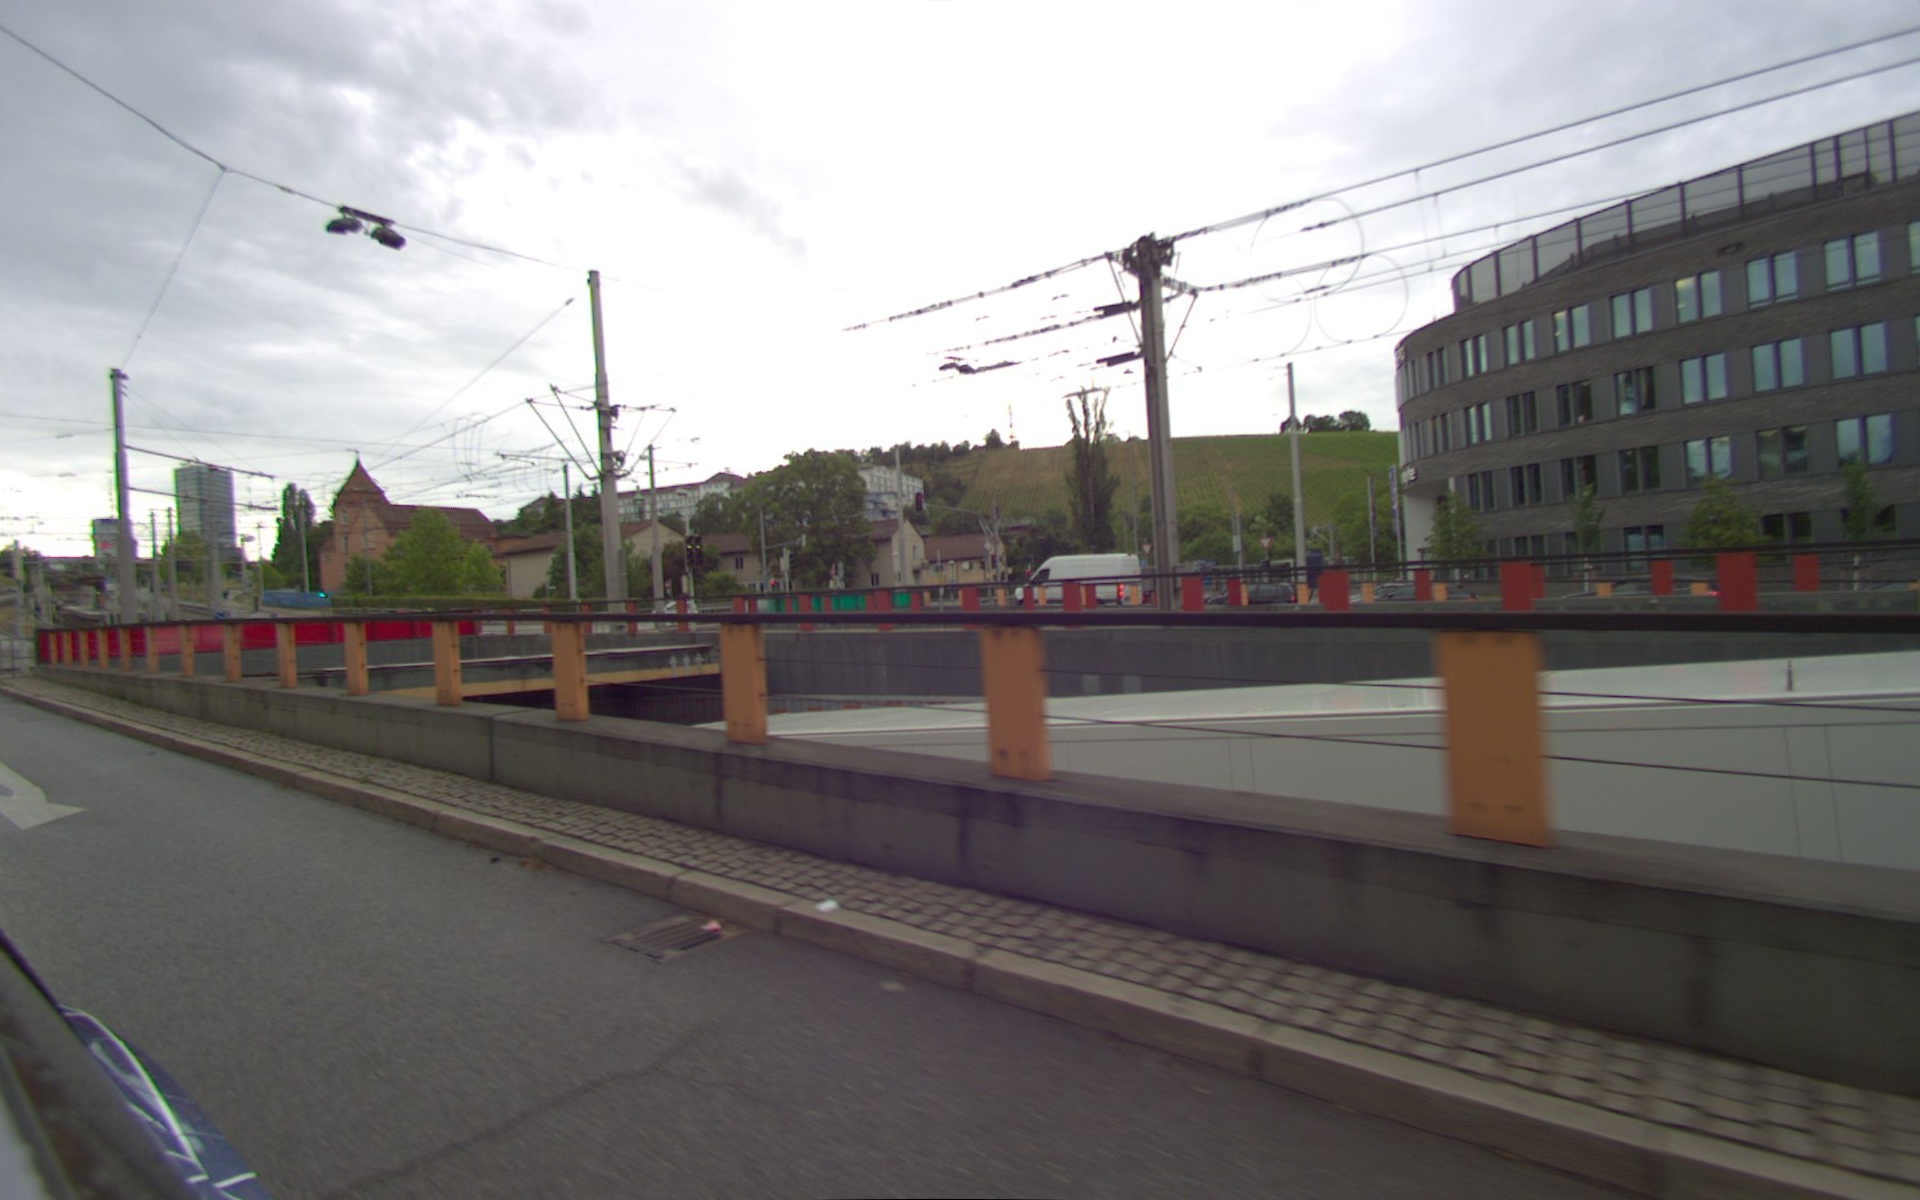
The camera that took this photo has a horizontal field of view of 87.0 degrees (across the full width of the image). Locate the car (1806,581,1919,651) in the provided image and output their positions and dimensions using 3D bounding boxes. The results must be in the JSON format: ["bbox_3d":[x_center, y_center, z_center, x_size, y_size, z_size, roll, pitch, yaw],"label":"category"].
[{"bbox_3d":[25.161,0.401,26.722,4.270,1.762,1.808,1,3,39],"label":"car"}]

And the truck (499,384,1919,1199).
[{"bbox_3d":[1.158,1.549,7.282,13.019,4.229,2.734,-4,-2,40],"label":"truck"}]

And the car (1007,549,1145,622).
[{"bbox_3d":[4.939,-0.562,43.665,5.712,2.853,1.973,-2,-1,40],"label":"car"}]

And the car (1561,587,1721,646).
[{"bbox_3d":[20.582,0.433,30.661,3.830,1.596,1.806,1,3,42],"label":"car"}]

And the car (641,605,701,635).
[{"bbox_3d":[-22.325,1.542,78.198,3.935,2.028,2.005,-3,3,-37],"label":"car"}]

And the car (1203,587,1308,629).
[{"bbox_3d":[12.253,0.294,42.076,3.830,1.596,1.806,1,3,42],"label":"car"}]

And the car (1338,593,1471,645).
[{"bbox_3d":[15.283,0.602,34.876,3.830,1.596,1.806,1,3,42],"label":"car"}]

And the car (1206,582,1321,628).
[{"bbox_3d":[11.590,0.142,38.715,3.830,1.596,1.806,1,3,42],"label":"car"}]

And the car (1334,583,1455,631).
[{"bbox_3d":[16.381,0.258,38.230,3.830,1.596,1.807,-1,4,42],"label":"car"}]
